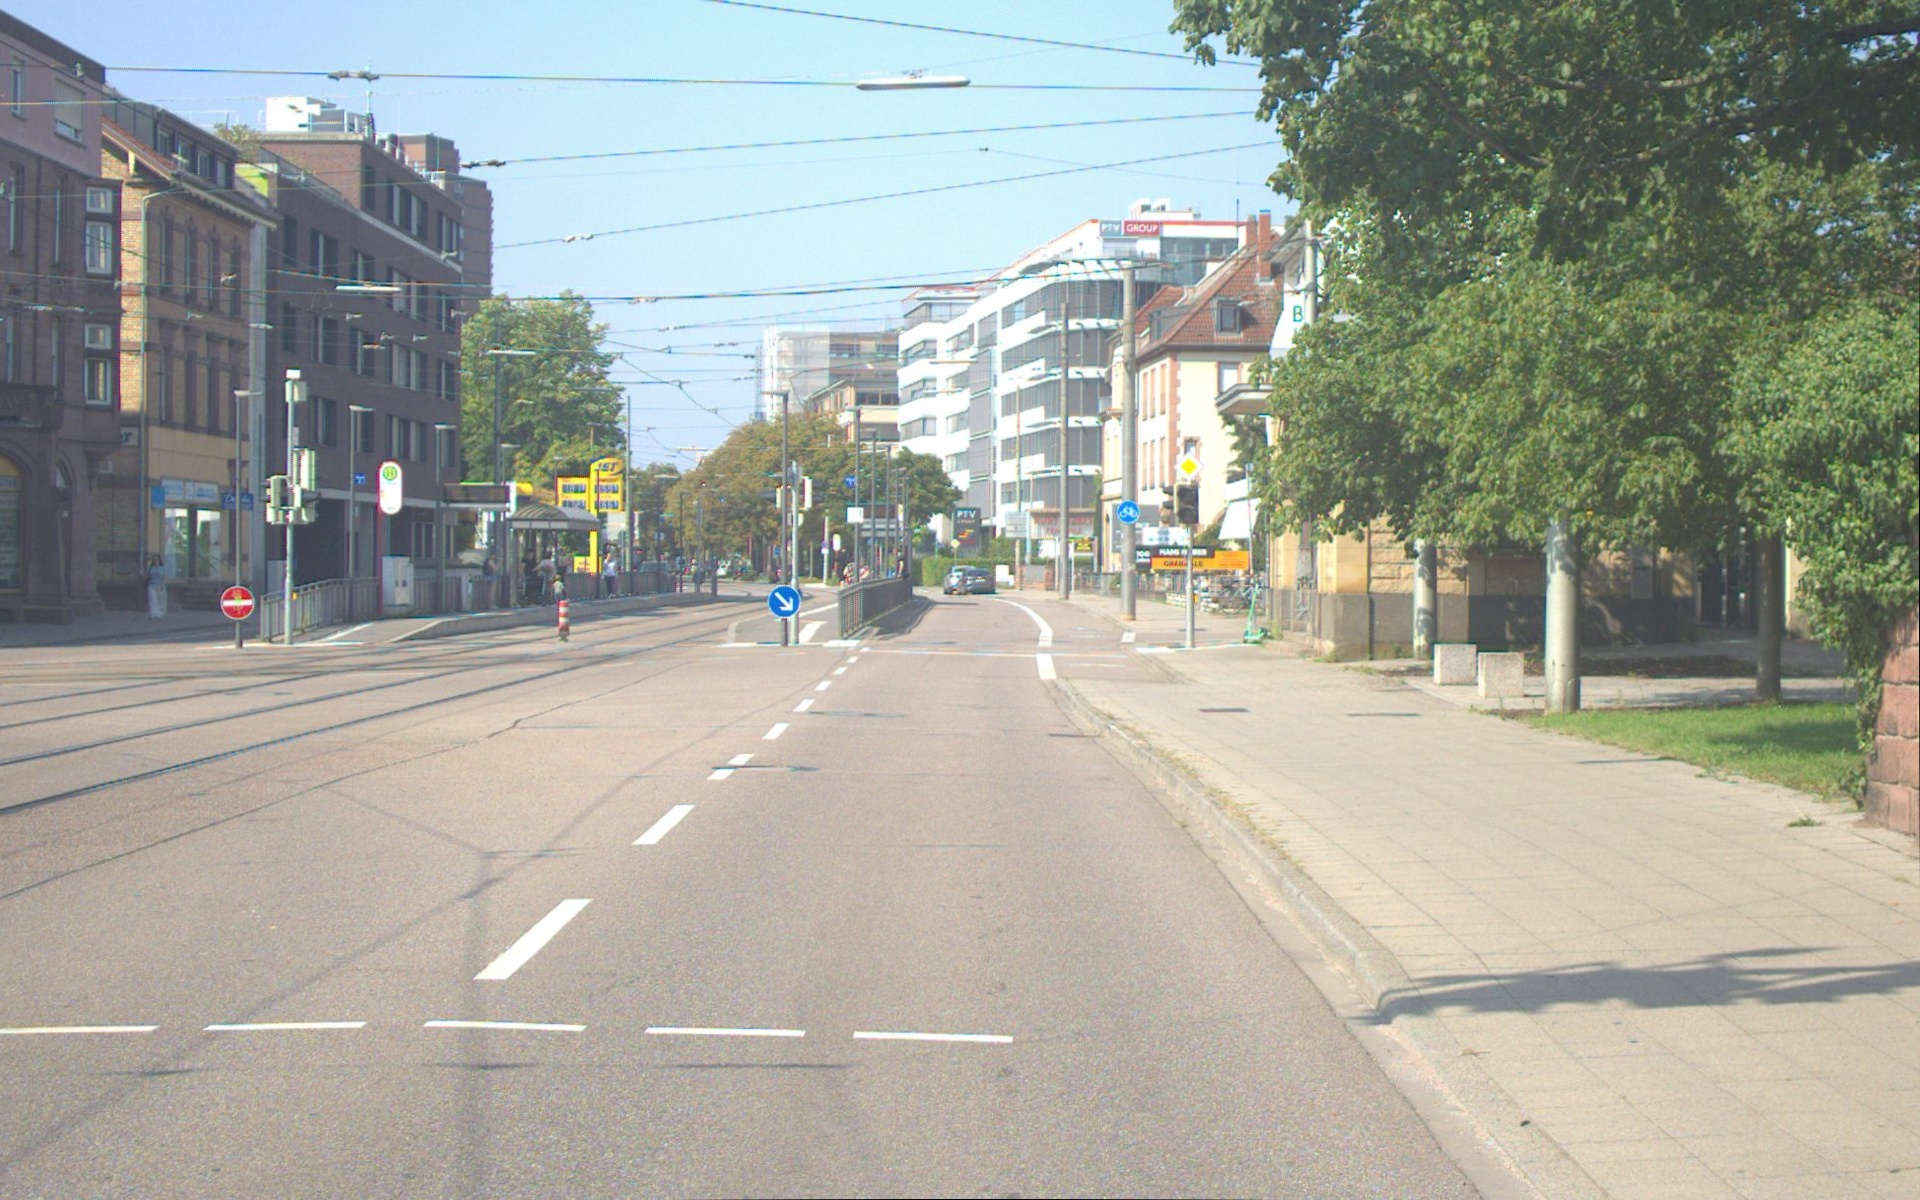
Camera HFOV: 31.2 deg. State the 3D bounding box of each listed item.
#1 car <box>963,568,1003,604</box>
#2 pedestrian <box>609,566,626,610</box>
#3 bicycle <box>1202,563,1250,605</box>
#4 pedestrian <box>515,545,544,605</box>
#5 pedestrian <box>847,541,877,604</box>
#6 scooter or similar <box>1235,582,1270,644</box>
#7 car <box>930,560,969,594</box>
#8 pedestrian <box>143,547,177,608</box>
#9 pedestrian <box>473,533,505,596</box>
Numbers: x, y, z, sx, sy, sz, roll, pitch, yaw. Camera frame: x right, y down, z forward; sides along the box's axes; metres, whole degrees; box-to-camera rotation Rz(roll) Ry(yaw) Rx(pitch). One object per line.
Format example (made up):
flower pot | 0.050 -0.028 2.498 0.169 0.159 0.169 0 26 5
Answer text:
car | 1.236 -0.761 185.626 2.011 1.852 4.000 -1 0 2
pedestrian | -11.922 -0.414 119.658 0.532 1.525 0.702 -1 0 -6
bicycle | 7.416 -0.441 95.908 0.731 1.129 2.840 -3 1 -7
pedestrian | -12.721 -0.735 101.594 0.708 1.741 0.799 -1 0 1
pedestrian | -2.678 -0.763 93.993 0.720 1.697 0.884 -1 0 1
scooter or similar | 5.447 0.242 64.049 0.523 1.130 1.511 -1 0 1
car | -0.589 -1.301 191.861 2.011 1.852 4.000 -1 0 2
pedestrian | -20.672 -0.577 88.844 0.483 1.555 0.886 2 -1 12
pedestrian | -12.917 -0.976 94.311 0.708 1.717 0.799 -1 0 1
